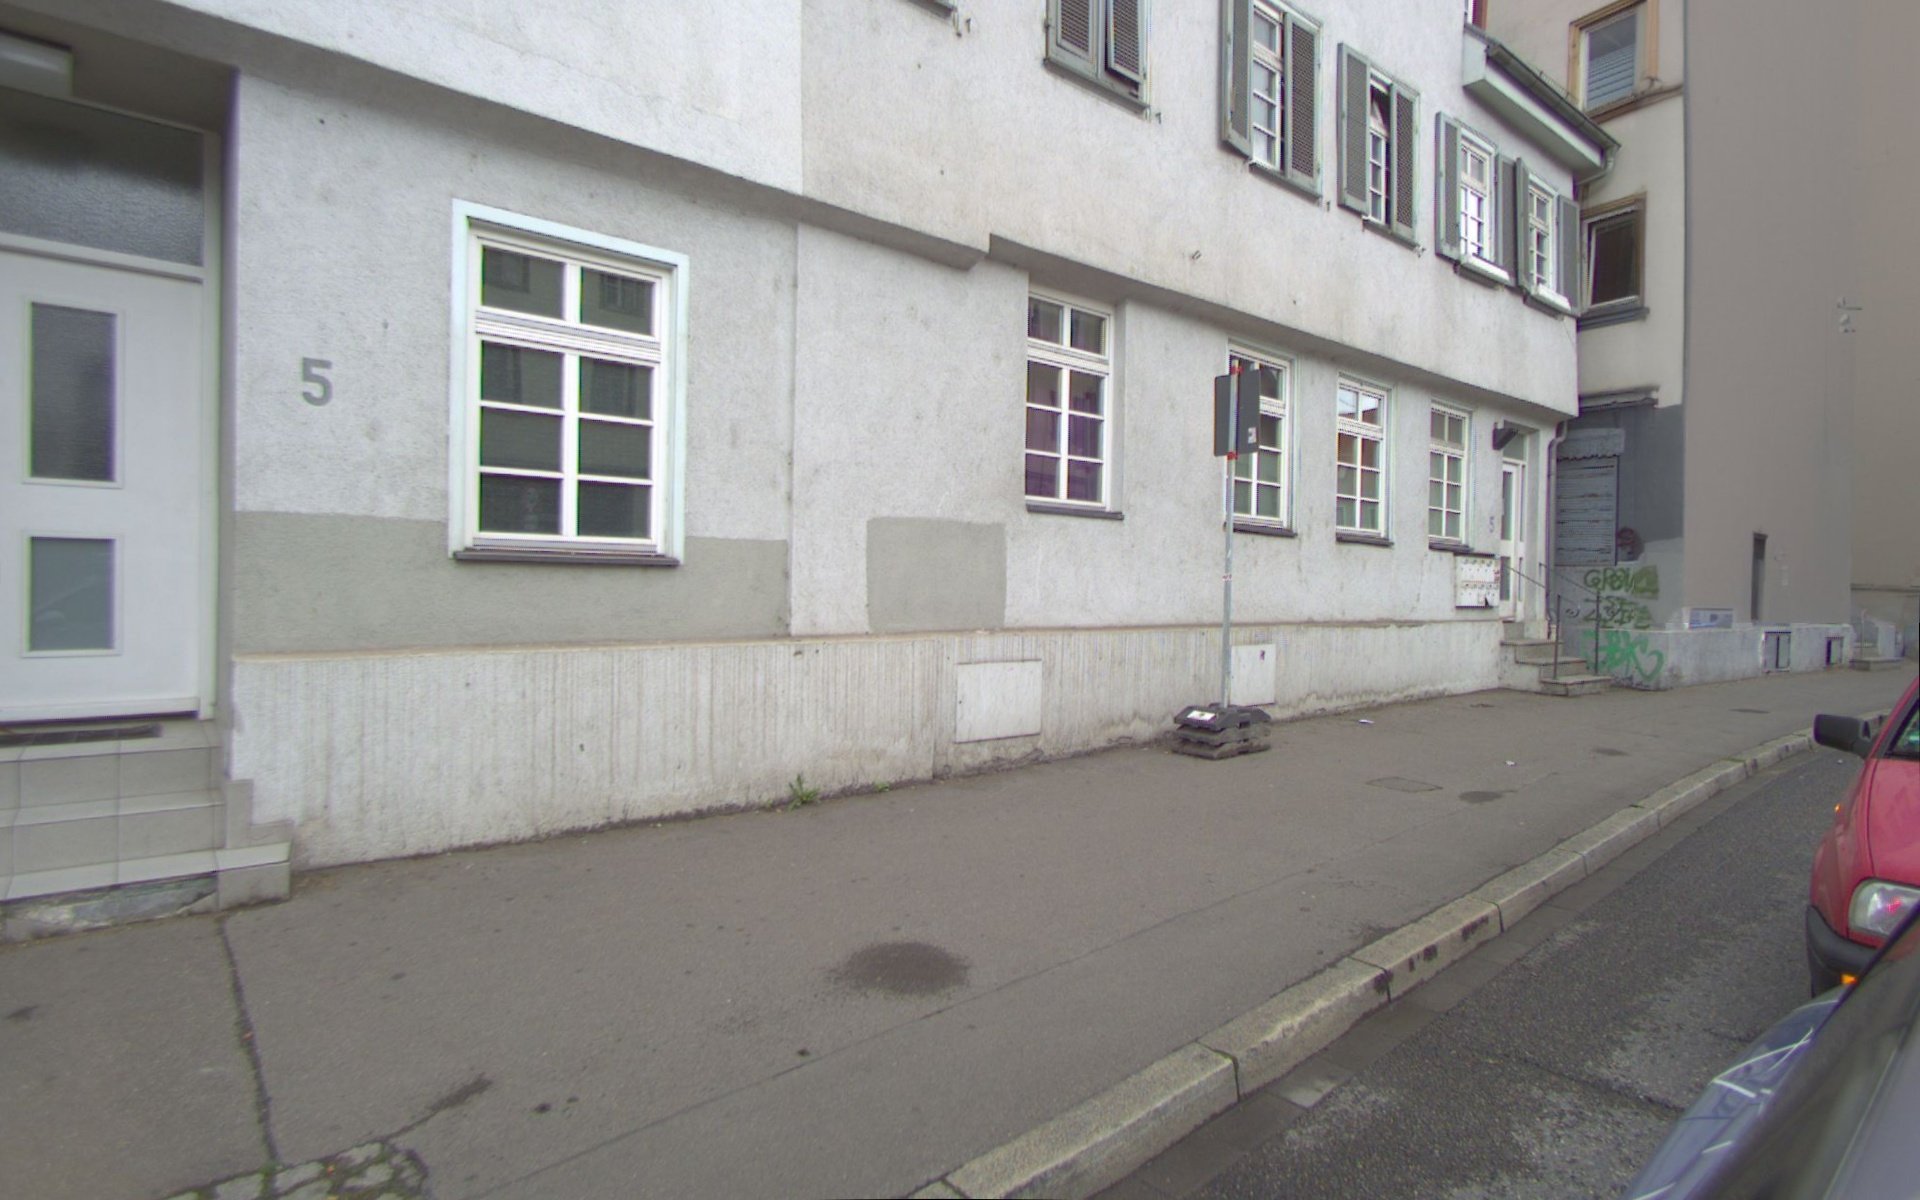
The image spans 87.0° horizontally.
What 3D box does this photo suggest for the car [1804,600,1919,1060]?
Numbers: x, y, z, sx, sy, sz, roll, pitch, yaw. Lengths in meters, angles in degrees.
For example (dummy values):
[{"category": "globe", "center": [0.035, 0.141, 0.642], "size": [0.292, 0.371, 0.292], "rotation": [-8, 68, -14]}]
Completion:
[{"category": "car", "center": [4.996, 0.740, 4.083], "size": [3.930, 1.485, 1.802], "rotation": [0, -2, -41]}]
